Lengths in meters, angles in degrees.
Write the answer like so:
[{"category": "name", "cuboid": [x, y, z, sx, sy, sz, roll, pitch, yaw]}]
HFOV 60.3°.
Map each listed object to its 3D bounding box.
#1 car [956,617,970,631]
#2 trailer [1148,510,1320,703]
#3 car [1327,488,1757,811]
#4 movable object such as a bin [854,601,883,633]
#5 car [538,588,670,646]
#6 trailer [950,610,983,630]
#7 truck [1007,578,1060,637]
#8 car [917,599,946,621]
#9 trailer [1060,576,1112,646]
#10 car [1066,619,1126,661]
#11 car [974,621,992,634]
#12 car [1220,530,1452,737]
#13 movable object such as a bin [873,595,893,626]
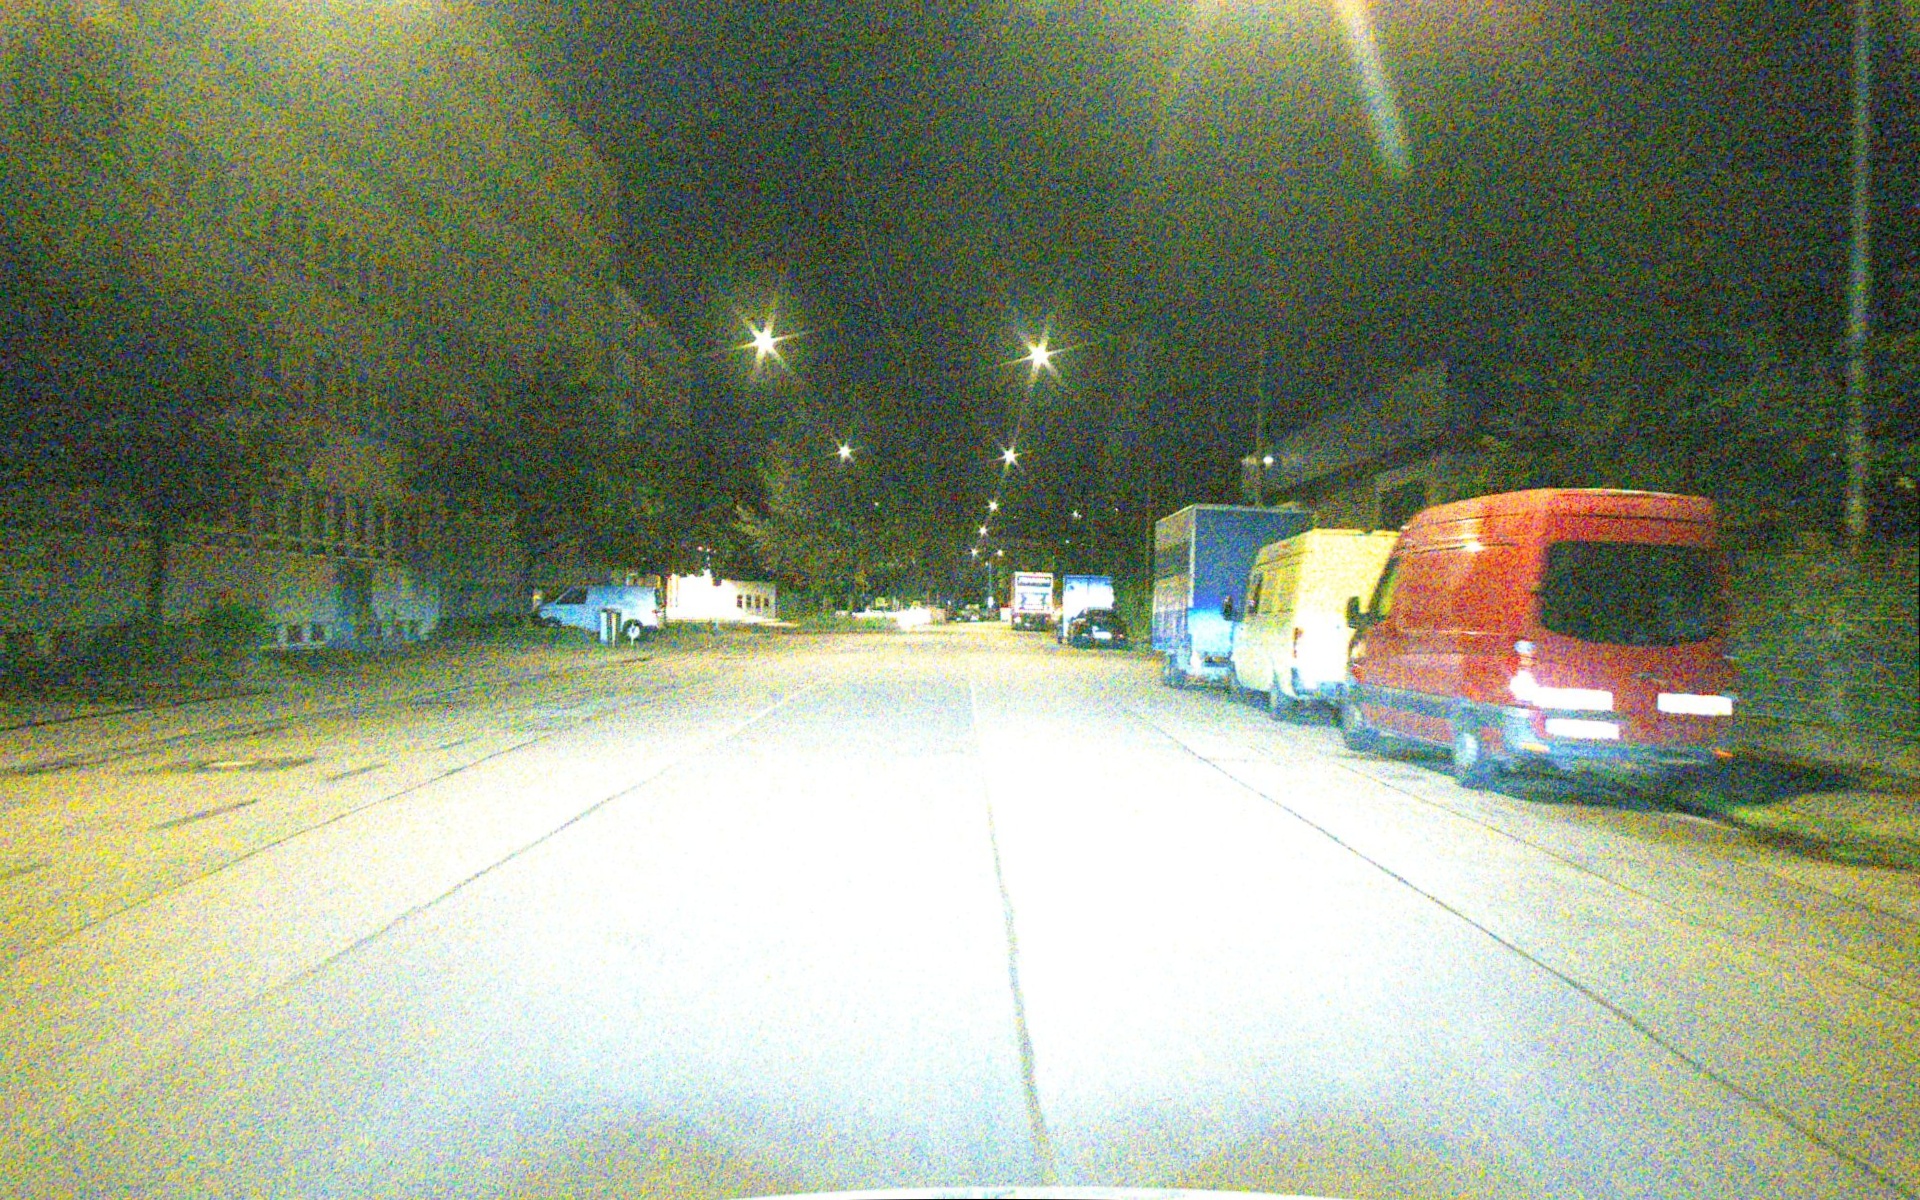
[{"category": "car", "cuboid": [0.365, 3.043, 207.539, 1.685, 1.690, 4.000, 1, -2, 1]}, {"category": "trailer", "cuboid": [5.119, 0.112, 31.553, 2.350, 3.384, 4.360, 1, 0, -3]}, {"category": "car", "cuboid": [5.392, 0.400, 16.419, 1.953, 2.592, 6.023, 1, 0, -2]}, {"category": "movable object such as a bin", "cuboid": [-7.326, 1.377, 131.960, 1.526, 2.511, 2.822, -1, -1, -21]}, {"category": "car", "cuboid": [-13.017, 0.613, 60.660, 4.341, 2.006, 2.000, 1, 0, -1]}, {"category": "trailer", "cuboid": [0.744, 2.308, 192.540, 1.541, 2.198, 5.175, -1, -1, -27]}, {"category": "truck", "cuboid": [5.045, 0.558, 115.231, 3.256, 3.936, 9.326, 1, -1, 0]}, {"category": "car", "cuboid": [-4.212, 1.501, 244.619, 2.465, 3.227, 7.143, -2, -1, 13]}, {"category": "trailer", "cuboid": [5.056, 0.423, 66.712, 1.952, 2.697, 4.001, 1, 0, 3]}, {"category": "car", "cuboid": [4.974, 1.436, 60.834, 1.691, 1.411, 4.675, 1, 0, -2]}, {"category": "car", "cuboid": [3.308, 3.960, 236.179, 1.684, 1.853, 4.002, 0, -2, 15]}, {"category": "car", "cuboid": [5.286, 0.418, 24.291, 1.901, 2.592, 6.646, 1, 0, 0]}, {"category": "movable object such as a bin", "cuboid": [-7.110, 0.958, 152.642, 1.540, 2.781, 3.696, -3, 0, -7]}]
